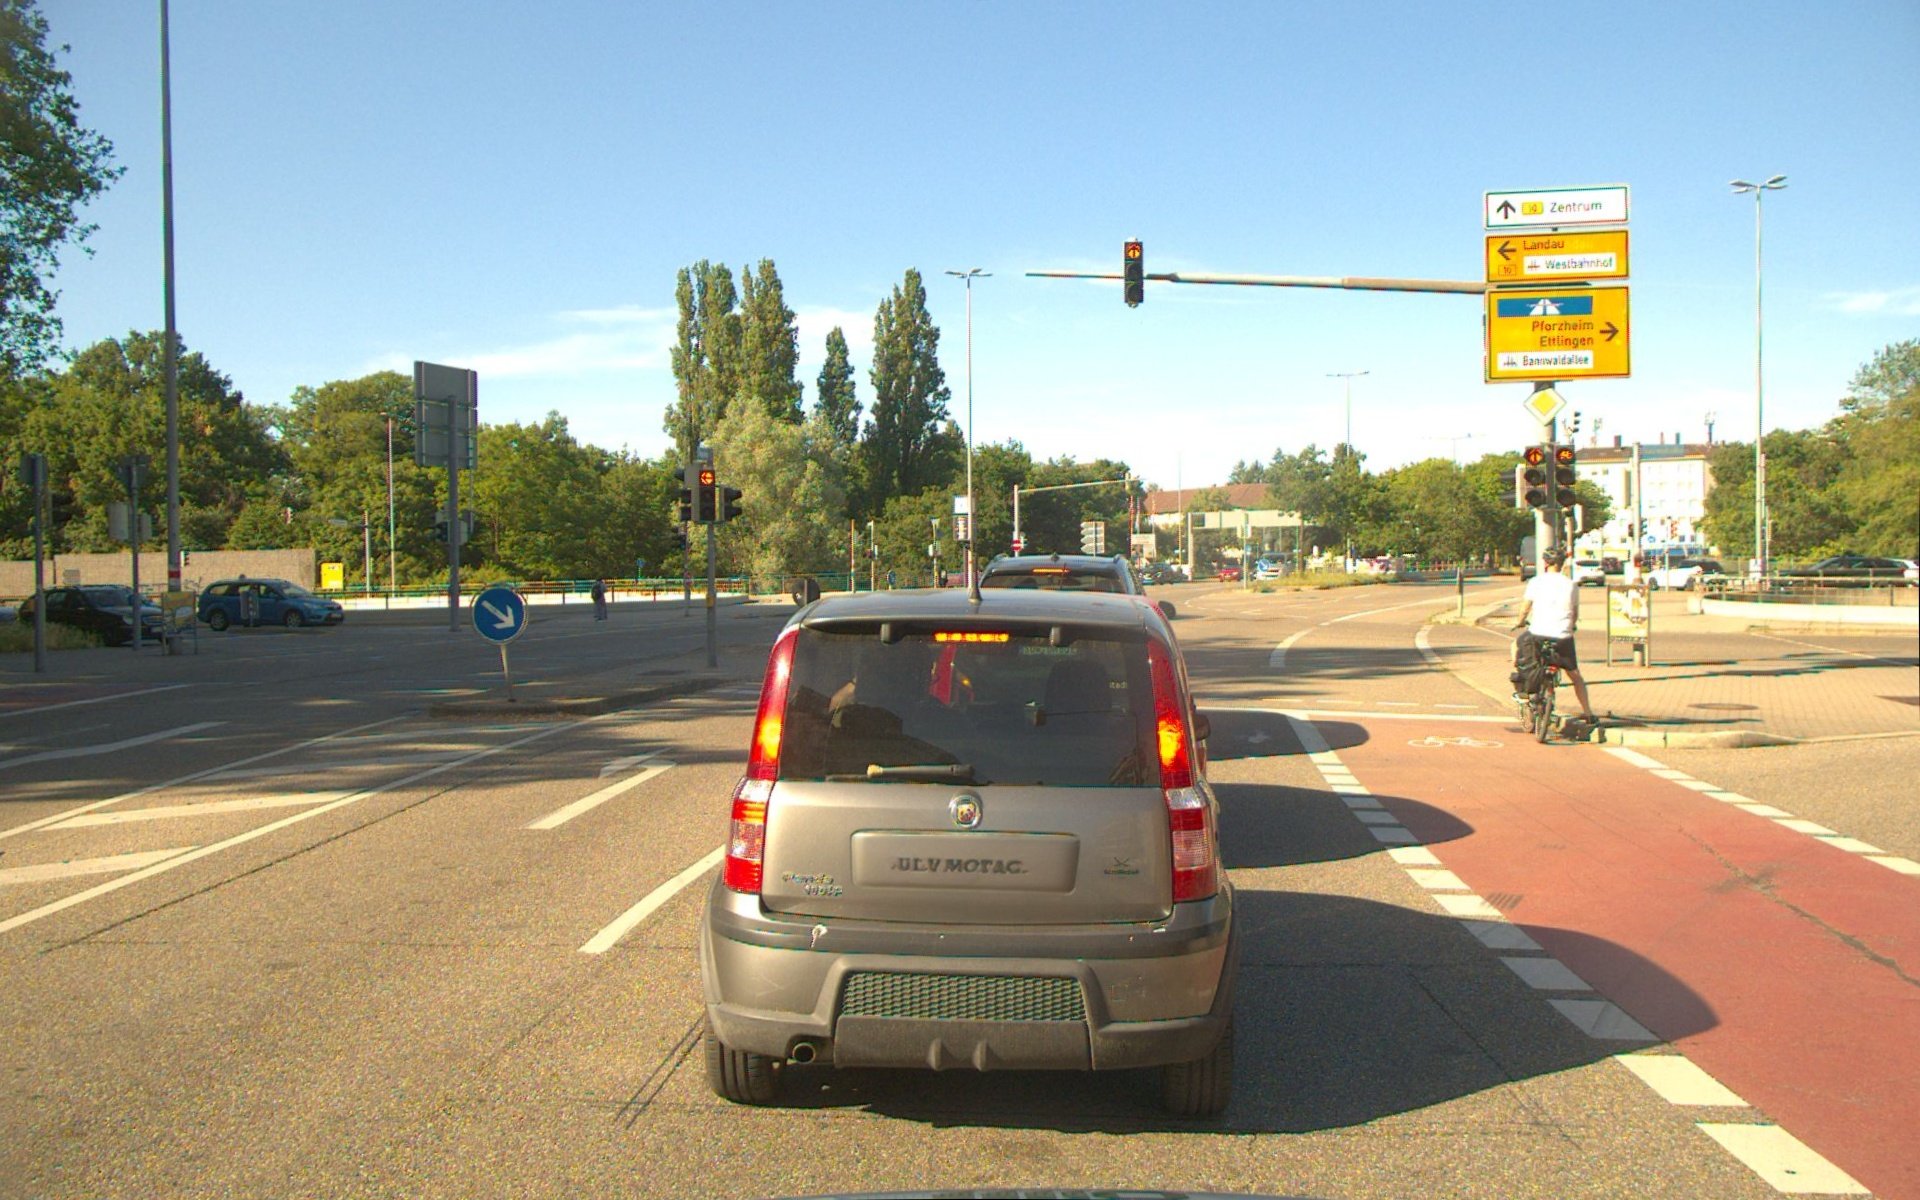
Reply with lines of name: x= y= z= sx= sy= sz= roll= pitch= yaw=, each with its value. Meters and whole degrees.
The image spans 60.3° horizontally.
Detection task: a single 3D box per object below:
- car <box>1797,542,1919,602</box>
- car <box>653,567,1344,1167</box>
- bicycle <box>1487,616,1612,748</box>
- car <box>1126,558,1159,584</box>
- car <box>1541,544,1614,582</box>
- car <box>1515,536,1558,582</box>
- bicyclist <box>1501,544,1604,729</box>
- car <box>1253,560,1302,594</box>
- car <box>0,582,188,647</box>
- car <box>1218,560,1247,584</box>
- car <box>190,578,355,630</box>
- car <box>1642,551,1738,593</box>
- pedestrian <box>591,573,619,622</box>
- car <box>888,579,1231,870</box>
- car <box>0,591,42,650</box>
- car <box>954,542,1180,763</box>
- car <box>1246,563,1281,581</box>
car: x=33.207 y=-1.002 z=60.942 sx=3.922 sy=2.049 sz=1.991 roll=-1 pitch=-2 yaw=38
car: x=0.192 y=0.670 z=6.357 sx=1.782 sy=1.515 sz=4.002 roll=2 pitch=1 yaw=3
bicycle: x=5.793 y=0.749 z=16.159 sx=0.784 sy=1.130 sz=2.398 roll=0 pitch=1 yaw=29
car: x=14.241 y=-2.233 z=129.001 sx=1.970 sy=1.887 sz=4.434 roll=0 pitch=-2 yaw=15
car: x=32.430 y=-1.906 z=86.948 sx=1.956 sy=1.781 sz=3.992 roll=0 pitch=-1 yaw=-8
car: x=35.949 y=-2.523 z=103.132 sx=2.208 sy=2.653 sz=4.884 roll=0 pitch=-2 yaw=23
bicyclist: x=5.791 y=0.330 z=16.148 sx=0.784 sy=1.735 sz=1.083 roll=0 pitch=1 yaw=29
car: x=19.559 y=-1.374 z=101.716 sx=1.972 sy=1.887 sz=4.884 roll=0 pitch=-2 yaw=23
car: x=-21.008 y=0.351 z=39.919 sx=4.345 sy=1.464 sz=1.826 roll=-1 pitch=1 yaw=22
car: x=23.571 y=-2.416 z=143.132 sx=1.970 sy=1.887 sz=4.889 roll=0 pitch=-2 yaw=15
car: x=-20.700 y=0.108 z=49.857 sx=4.342 sy=1.464 sz=1.828 roll=-1 pitch=1 yaw=14
car: x=34.173 y=-1.278 z=77.564 sx=1.963 sy=1.781 sz=3.978 roll=1 pitch=-2 yaw=-18
pedestrian: x=-11.879 y=-0.077 z=55.325 sx=0.673 sy=1.565 sz=1.365 roll=0 pitch=-4 yaw=-3
car: x=0.594 y=0.639 z=10.720 sx=1.782 sy=1.505 sz=4.001 roll=1 pitch=0 yaw=2
car: x=-26.404 y=0.560 z=43.266 sx=4.345 sy=1.464 sz=1.826 roll=-1 pitch=1 yaw=22
car: x=1.181 y=0.391 z=16.108 sx=1.829 sy=1.821 sz=4.418 roll=1 pitch=1 yaw=8
car: x=28.204 y=-2.603 z=153.547 sx=1.973 sy=1.572 sz=4.883 roll=0 pitch=1 yaw=25
